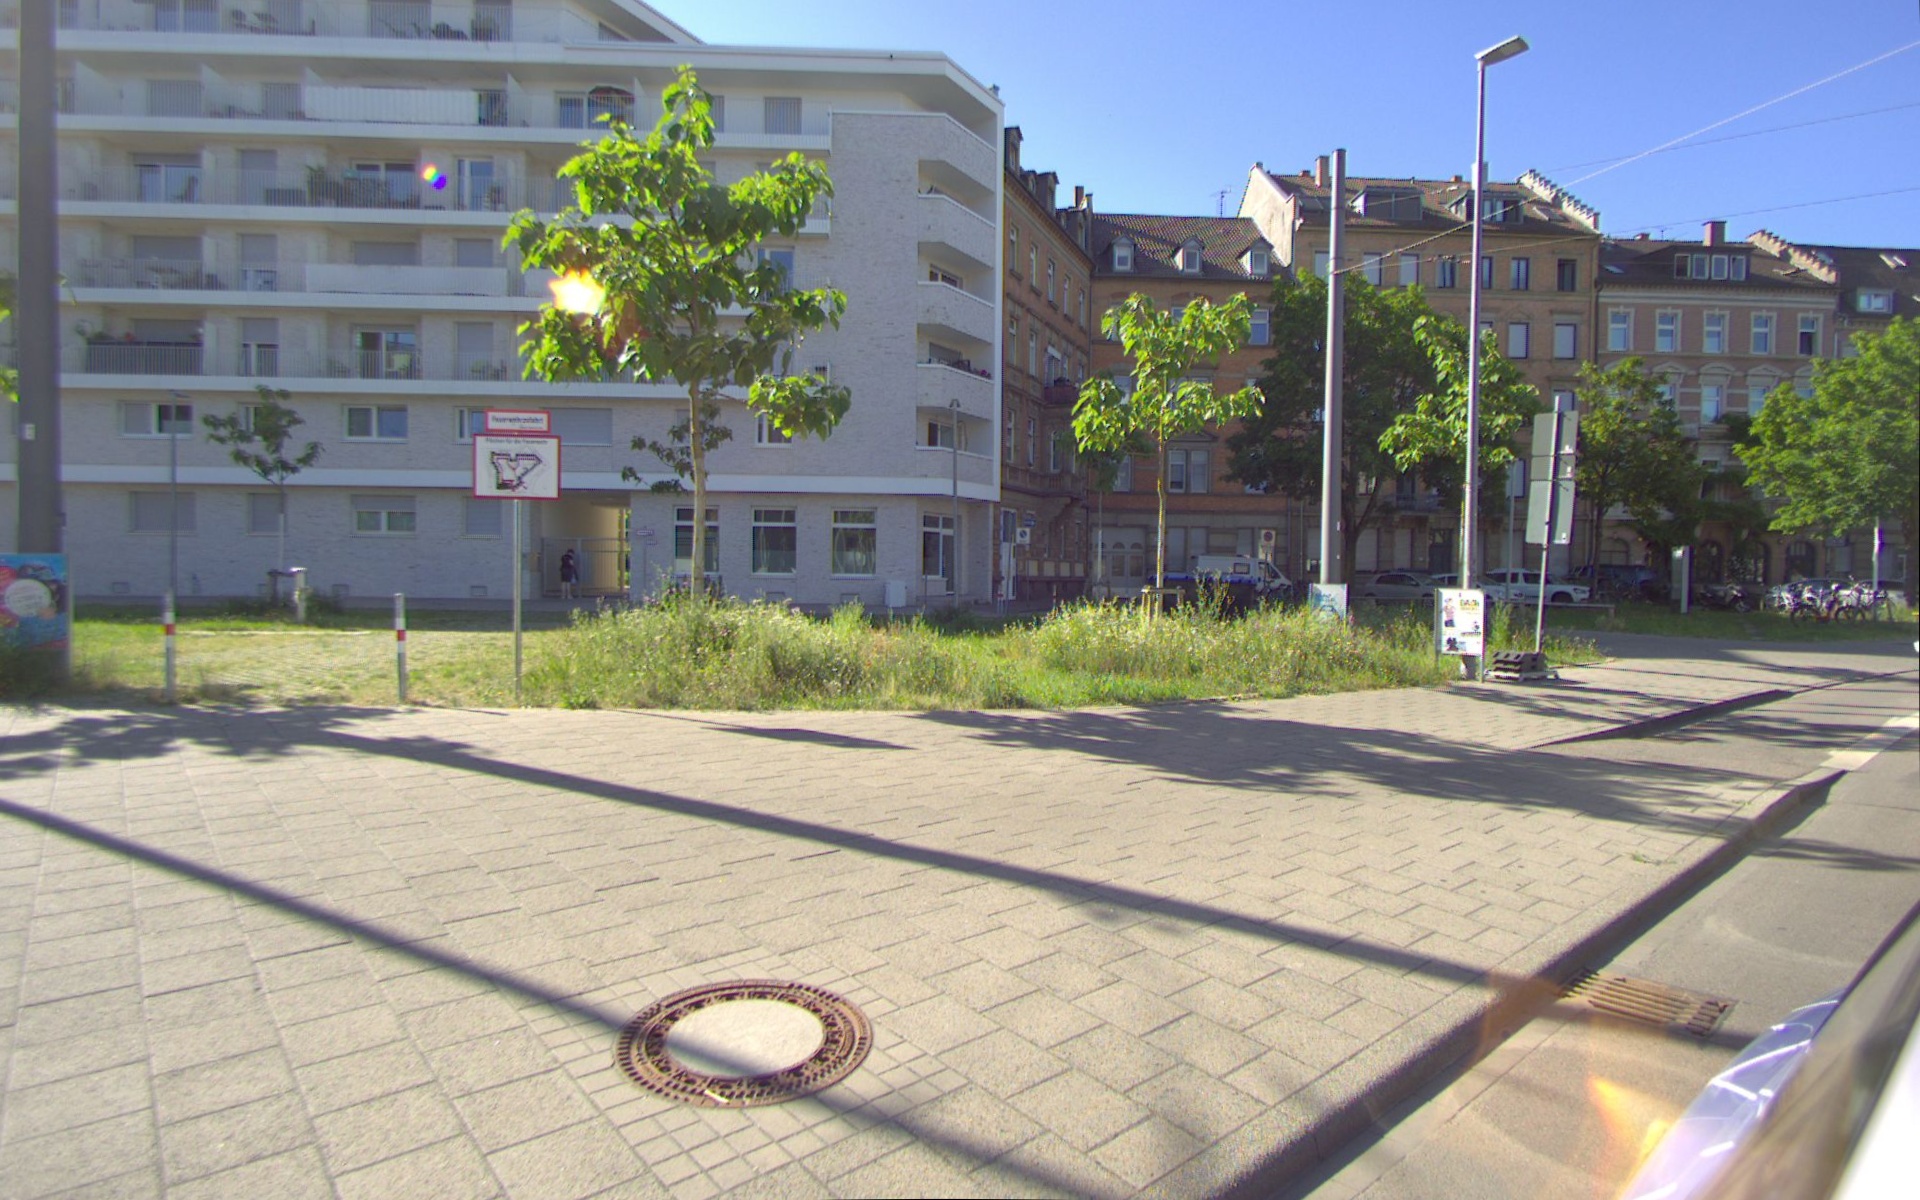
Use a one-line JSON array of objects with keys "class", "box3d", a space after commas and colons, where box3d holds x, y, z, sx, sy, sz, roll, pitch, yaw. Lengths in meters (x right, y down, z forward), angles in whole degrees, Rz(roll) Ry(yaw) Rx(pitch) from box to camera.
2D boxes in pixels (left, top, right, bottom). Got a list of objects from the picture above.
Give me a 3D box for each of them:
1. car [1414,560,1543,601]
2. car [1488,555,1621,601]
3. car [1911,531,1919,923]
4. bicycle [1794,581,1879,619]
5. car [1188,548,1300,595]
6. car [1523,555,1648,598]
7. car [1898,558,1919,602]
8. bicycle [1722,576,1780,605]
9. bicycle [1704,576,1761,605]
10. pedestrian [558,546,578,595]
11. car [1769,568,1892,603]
[{"class": "car", "box3d": [20.014, -0.775, 39.187, 1.964, 1.482, 3.997, -1, 2, -38]}, {"class": "car", "box3d": [22.953, -0.852, 39.198, 1.964, 1.682, 3.997, -1, 2, -38]}, {"class": "car", "box3d": [6.239, 0.530, 4.953, 4.262, 1.650, 1.872, -1, 2, -41]}, {"class": "bicycle", "box3d": [25.344, -0.009, 29.295, 1.742, 1.037, 0.564, 1, 1, 23]}, {"class": "car", "box3d": [13.171, -1.324, 47.127, 4.553, 2.139, 2.001, 0, 1, -1]}, {"class": "car", "box3d": [25.897, -0.982, 41.999, 1.964, 1.682, 3.997, -1, 2, -38]}, {"class": "car", "box3d": [40.911, -0.768, 40.466, 1.701, 1.793, 4.791, 0, 2, -38]}, {"class": "bicycle", "box3d": [29.631, -0.357, 37.928, 0.442, 1.037, 1.766, 0, 1, -15]}, {"class": "bicycle", "box3d": [28.802, -0.357, 37.747, 0.442, 1.037, 1.766, 0, 1, -15]}, {"class": "pedestrian", "box3d": [-13.649, -1.030, 35.251, 0.513, 1.668, 0.470, 1, 1, 2]}, {"class": "car", "box3d": [34.683, -0.609, 40.367, 1.701, 1.348, 3.463, -1, 2, -38]}]
